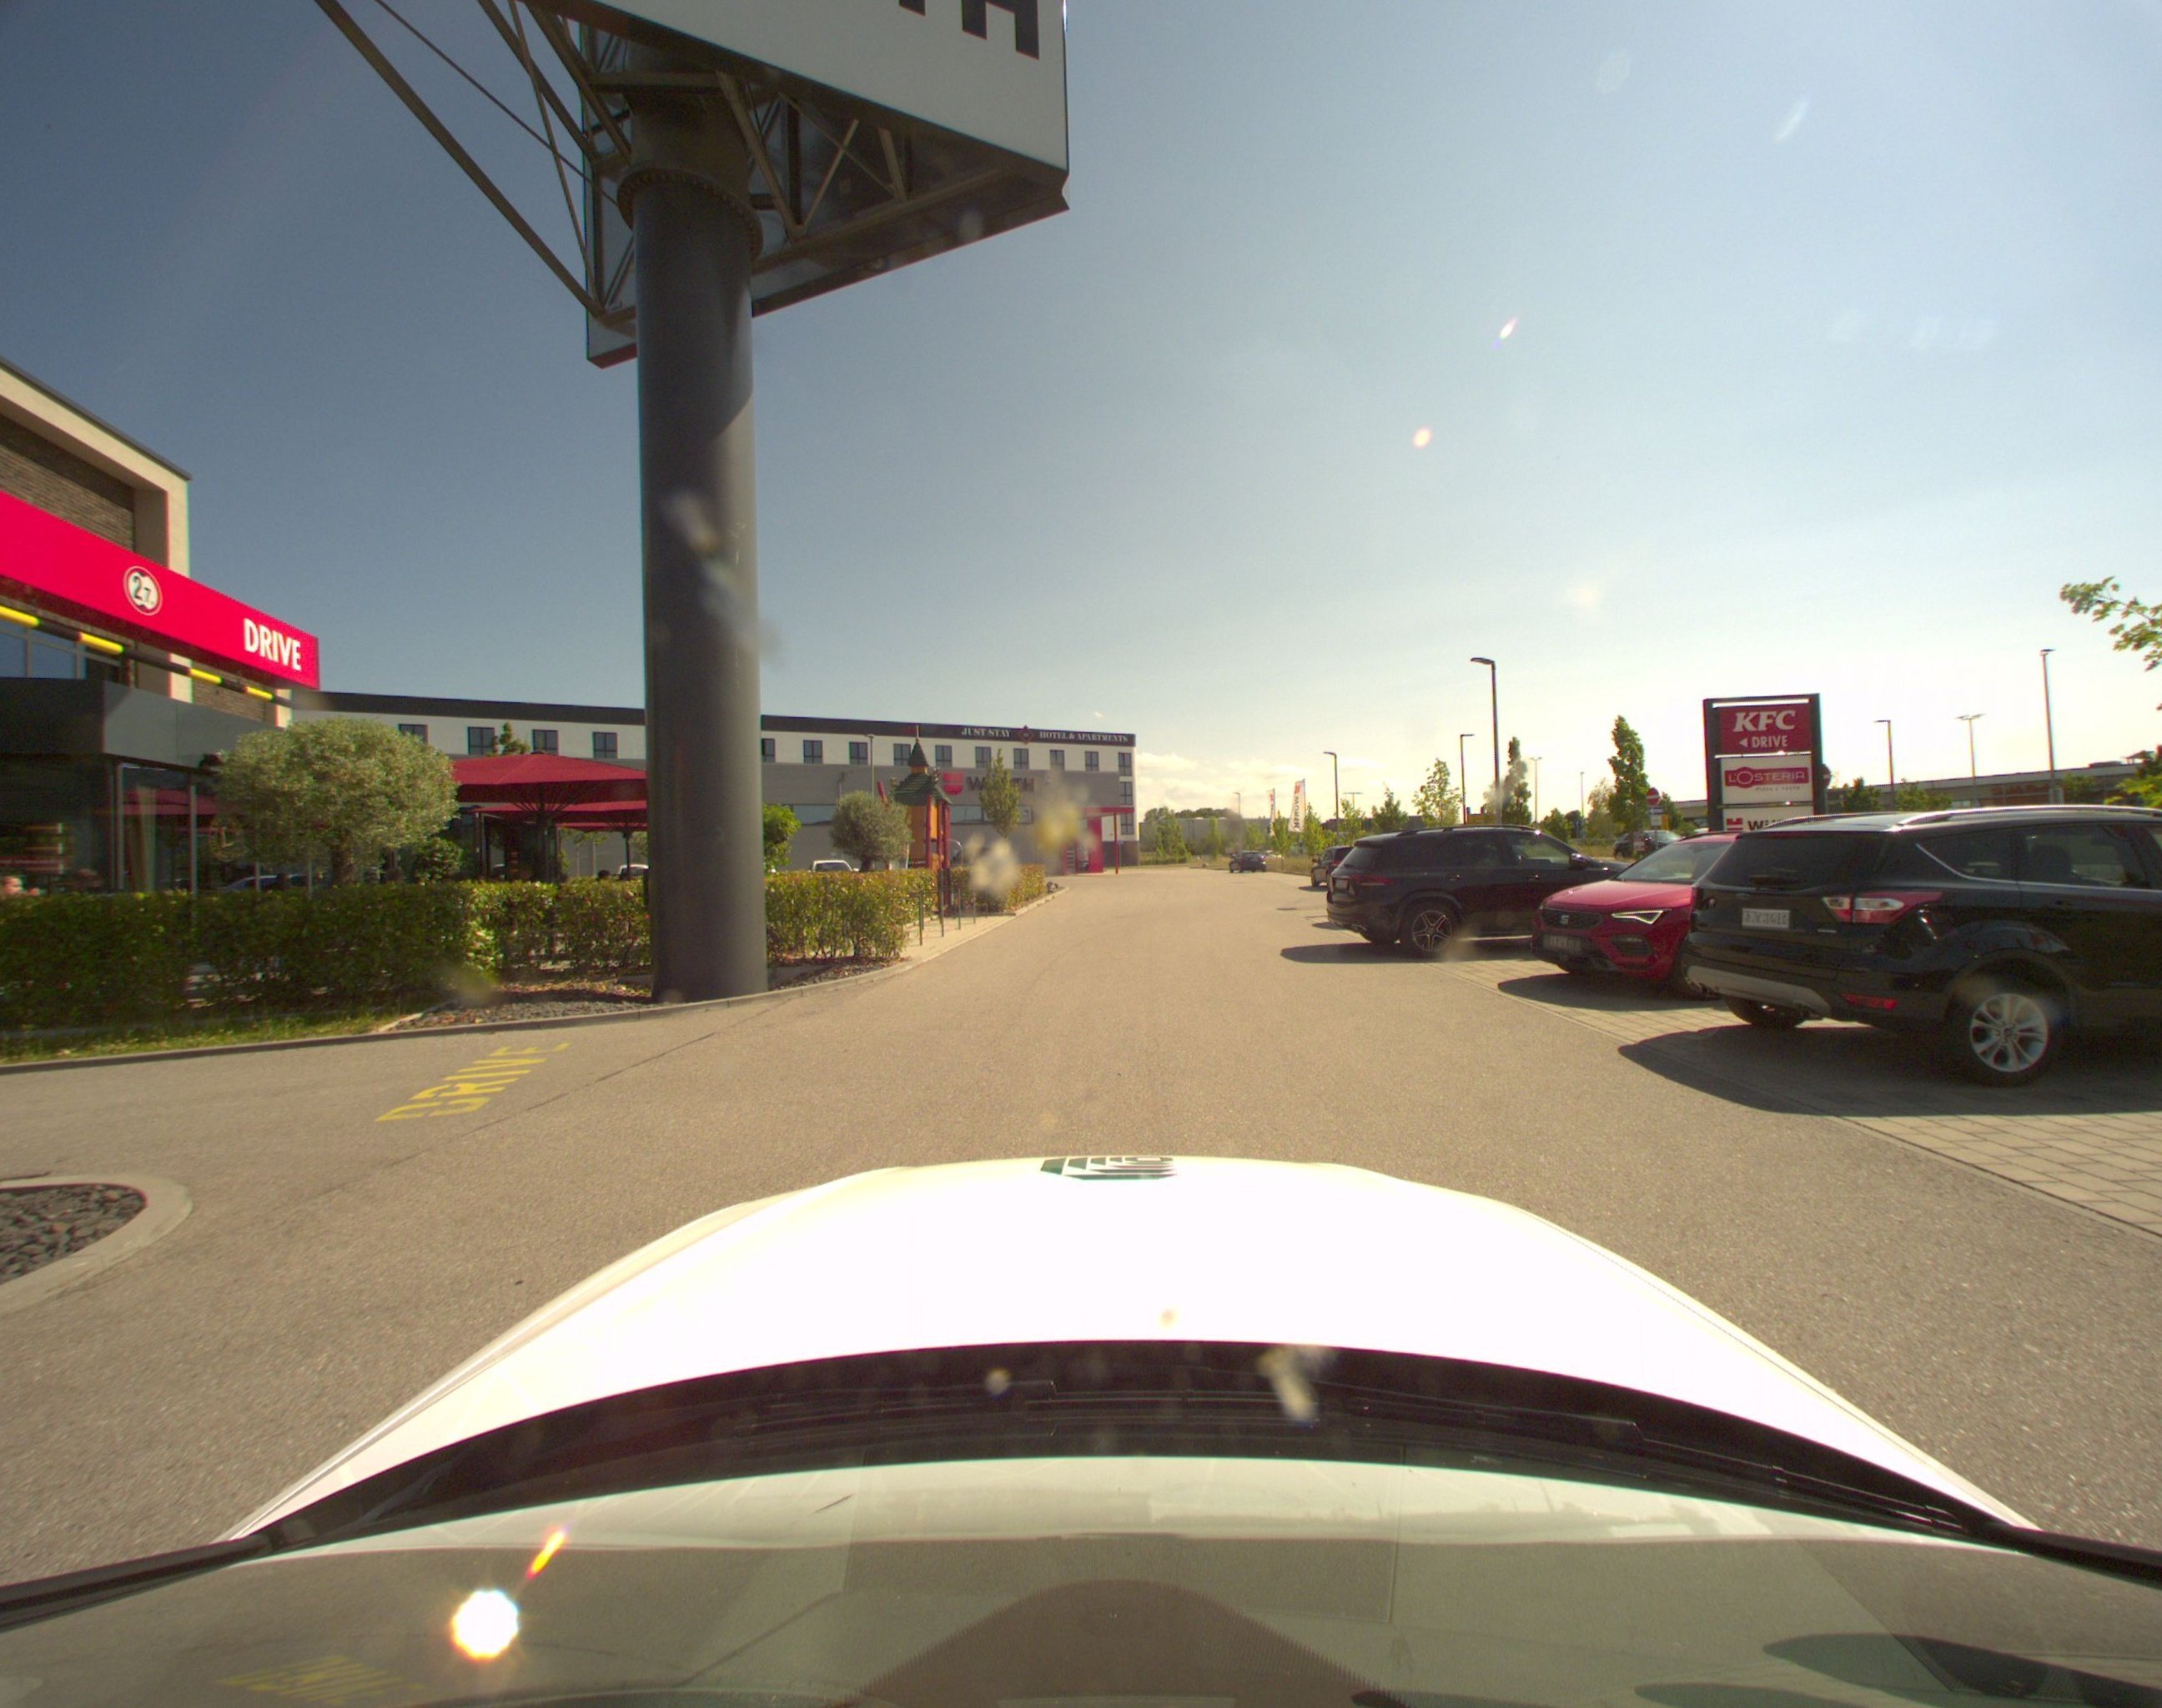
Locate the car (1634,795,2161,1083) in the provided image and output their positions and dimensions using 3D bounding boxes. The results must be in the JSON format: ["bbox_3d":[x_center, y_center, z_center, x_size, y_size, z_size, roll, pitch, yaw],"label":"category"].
[{"bbox_3d":[6.781,0.490,5.877,4.305,1.703,1.895,-1,0,-1],"label":"car"}]

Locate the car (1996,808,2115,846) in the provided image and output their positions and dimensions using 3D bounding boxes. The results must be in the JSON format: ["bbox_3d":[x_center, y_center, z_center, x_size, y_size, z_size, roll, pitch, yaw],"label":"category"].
[{"bbox_3d":[56.153,-1.553,46.978,5.159,2.013,1.994,-2,0,-8],"label":"car"}]

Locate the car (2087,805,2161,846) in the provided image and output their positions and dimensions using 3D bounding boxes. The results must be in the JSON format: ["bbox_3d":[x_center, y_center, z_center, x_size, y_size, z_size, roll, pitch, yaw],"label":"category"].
[{"bbox_3d":[55.370,-1.505,42.089,4.057,2.013,2.003,-2,0,5],"label":"car"}]

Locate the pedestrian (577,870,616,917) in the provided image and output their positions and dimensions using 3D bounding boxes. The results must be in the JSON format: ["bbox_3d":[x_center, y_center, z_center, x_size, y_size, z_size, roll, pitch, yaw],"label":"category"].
[{"bbox_3d":[-11.514,0.933,19.374,0.575,1.089,0.544,-2,0,-2],"label":"pedestrian"}]

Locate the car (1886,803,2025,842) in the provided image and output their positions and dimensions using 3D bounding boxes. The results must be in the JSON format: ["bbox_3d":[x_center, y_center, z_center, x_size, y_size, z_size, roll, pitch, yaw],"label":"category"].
[{"bbox_3d":[56.272,-2.024,52.499,6.280,2.237,2.812,-2,0,-5],"label":"car"}]

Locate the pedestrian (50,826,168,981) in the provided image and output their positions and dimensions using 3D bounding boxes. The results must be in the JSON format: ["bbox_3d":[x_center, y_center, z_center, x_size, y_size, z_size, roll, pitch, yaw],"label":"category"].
[{"bbox_3d":[-9.865,0.481,8.288,0.526,1.505,0.565,-2,0,-20],"label":"pedestrian"}]

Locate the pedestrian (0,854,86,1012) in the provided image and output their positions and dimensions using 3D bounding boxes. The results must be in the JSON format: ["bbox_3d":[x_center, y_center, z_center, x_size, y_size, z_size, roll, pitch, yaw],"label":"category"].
[{"bbox_3d":[-10.463,0.758,8.066,0.526,1.505,0.565,-2,0,-20],"label":"pedestrian"}]

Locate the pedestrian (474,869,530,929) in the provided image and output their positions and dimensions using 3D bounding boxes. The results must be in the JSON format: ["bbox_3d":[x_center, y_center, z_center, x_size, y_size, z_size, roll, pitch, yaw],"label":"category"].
[{"bbox_3d":[-11.921,0.924,16.781,0.702,1.198,0.619,-2,0,19],"label":"pedestrian"}]

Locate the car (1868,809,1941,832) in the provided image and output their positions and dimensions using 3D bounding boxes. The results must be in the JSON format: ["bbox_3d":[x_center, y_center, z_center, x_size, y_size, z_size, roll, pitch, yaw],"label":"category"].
[{"bbox_3d":[66.195,-2.687,65.541,1.901,1.618,3.670,-2,0,-10],"label":"car"}]

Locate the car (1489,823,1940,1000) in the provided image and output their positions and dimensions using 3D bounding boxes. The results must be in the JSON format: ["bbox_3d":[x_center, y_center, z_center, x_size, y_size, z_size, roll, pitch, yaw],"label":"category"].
[{"bbox_3d":[6.895,0.508,8.991,4.076,1.608,1.886,-1,0,-15],"label":"car"}]

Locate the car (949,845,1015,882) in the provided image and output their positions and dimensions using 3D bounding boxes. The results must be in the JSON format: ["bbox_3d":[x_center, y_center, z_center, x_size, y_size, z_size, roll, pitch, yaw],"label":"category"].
[{"bbox_3d":[-5.576,0.523,45.190,2.082,1.880,4.836,-2,0,-27],"label":"car"}]

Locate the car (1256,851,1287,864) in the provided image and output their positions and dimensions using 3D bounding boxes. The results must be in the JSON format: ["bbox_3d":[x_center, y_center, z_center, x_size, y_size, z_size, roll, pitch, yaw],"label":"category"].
[{"bbox_3d":[22.673,0.374,97.196,1.876,1.483,3.979,-2,0,-16],"label":"car"}]

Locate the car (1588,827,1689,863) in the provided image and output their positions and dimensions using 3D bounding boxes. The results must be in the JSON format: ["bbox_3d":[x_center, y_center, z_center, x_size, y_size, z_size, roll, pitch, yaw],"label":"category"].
[{"bbox_3d":[28.820,-0.455,42.316,1.987,1.733,4.760,-2,0,1],"label":"car"}]

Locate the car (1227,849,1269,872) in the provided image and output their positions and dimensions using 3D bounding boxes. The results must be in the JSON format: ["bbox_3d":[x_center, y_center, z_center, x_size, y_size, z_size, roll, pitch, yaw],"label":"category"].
[{"bbox_3d":[10.957,0.406,53.676,1.695,1.406,3.892,-1,0,-4],"label":"car"}]

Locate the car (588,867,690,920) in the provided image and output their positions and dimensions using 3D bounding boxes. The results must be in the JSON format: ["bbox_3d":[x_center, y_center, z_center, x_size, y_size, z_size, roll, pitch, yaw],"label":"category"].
[{"bbox_3d":[-12.565,1.066,23.383,1.645,1.308,3.822,-2,0,-14],"label":"car"}]

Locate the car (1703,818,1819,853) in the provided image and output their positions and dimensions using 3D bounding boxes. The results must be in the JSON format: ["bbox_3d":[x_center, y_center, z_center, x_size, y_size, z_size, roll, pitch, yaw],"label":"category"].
[{"bbox_3d":[32.194,-0.844,38.769,1.865,1.483,4.607,-2,0,3],"label":"car"}]

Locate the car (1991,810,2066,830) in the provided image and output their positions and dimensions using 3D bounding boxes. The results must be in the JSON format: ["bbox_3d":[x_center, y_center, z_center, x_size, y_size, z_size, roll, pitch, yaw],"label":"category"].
[{"bbox_3d":[73.074,-2.595,62.856,1.432,1.400,3.463,-2,0,-19],"label":"car"}]

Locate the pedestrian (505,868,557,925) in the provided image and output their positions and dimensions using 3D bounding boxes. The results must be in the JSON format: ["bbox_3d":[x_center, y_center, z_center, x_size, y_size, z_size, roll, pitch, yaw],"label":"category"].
[{"bbox_3d":[-12.051,0.917,17.869,0.708,1.198,0.614,-2,0,-10],"label":"pedestrian"}]

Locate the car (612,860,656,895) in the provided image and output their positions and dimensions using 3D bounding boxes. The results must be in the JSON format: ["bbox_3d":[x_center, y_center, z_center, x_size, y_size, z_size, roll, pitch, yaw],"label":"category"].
[{"bbox_3d":[-21.128,1.069,38.523,1.742,1.487,3.914,-2,0,-29],"label":"car"}]

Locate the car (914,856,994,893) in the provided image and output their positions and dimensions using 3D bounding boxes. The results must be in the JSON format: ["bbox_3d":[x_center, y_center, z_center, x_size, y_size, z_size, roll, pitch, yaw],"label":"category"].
[{"bbox_3d":[-5.316,0.816,33.622,1.873,1.362,4.336,-2,0,-29],"label":"car"}]

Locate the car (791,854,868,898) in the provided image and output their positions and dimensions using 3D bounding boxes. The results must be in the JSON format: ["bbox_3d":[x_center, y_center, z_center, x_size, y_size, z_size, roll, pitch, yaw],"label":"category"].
[{"bbox_3d":[-9.766,0.795,31.417,1.959,1.530,4.336,-2,0,-29],"label":"car"}]

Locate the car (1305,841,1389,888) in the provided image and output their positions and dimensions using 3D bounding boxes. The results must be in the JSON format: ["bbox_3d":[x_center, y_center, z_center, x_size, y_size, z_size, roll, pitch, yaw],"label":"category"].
[{"bbox_3d":[9.496,0.343,29.417,1.828,1.477,4.124,-3,0,3],"label":"car"}]

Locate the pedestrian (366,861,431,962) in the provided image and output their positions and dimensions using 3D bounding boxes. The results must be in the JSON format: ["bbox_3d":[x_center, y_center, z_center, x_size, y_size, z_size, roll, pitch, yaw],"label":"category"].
[{"bbox_3d":[-9.709,0.796,11.581,0.654,1.366,0.476,-2,0,-43],"label":"pedestrian"}]

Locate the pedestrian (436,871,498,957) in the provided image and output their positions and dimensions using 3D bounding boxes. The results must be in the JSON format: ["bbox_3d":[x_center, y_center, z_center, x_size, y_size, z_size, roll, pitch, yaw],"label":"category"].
[{"bbox_3d":[-8.946,0.847,11.863,0.654,1.185,0.476,-2,0,-43],"label":"pedestrian"}]

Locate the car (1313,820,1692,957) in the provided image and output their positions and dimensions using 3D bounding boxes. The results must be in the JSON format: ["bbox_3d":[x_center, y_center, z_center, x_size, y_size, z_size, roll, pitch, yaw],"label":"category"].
[{"bbox_3d":[5.937,0.465,11.898,4.561,1.760,1.895,-1,0,-1],"label":"car"}]

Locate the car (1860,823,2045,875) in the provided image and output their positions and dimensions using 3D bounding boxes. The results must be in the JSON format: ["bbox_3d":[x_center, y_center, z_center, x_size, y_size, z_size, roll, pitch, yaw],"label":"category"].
[{"bbox_3d":[31.117,-0.197,29.316,1.865,1.664,4.607,-2,0,3],"label":"car"}]

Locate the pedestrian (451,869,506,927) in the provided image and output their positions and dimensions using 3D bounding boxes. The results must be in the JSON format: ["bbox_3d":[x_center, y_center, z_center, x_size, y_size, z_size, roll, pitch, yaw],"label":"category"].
[{"bbox_3d":[-13.148,0.953,17.773,0.703,1.198,0.619,-2,0,13],"label":"pedestrian"}]

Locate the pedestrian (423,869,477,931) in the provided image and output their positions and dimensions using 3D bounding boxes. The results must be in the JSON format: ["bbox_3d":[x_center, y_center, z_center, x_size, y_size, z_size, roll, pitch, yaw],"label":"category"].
[{"bbox_3d":[-12.946,0.934,16.718,0.711,1.198,0.662,-2,0,-25],"label":"pedestrian"}]

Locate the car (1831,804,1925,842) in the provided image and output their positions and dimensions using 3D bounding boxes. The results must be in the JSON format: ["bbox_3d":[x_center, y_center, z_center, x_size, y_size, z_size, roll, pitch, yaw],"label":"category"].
[{"bbox_3d":[55.673,-2.153,56.913,5.057,2.455,1.994,-2,0,-8],"label":"car"}]
